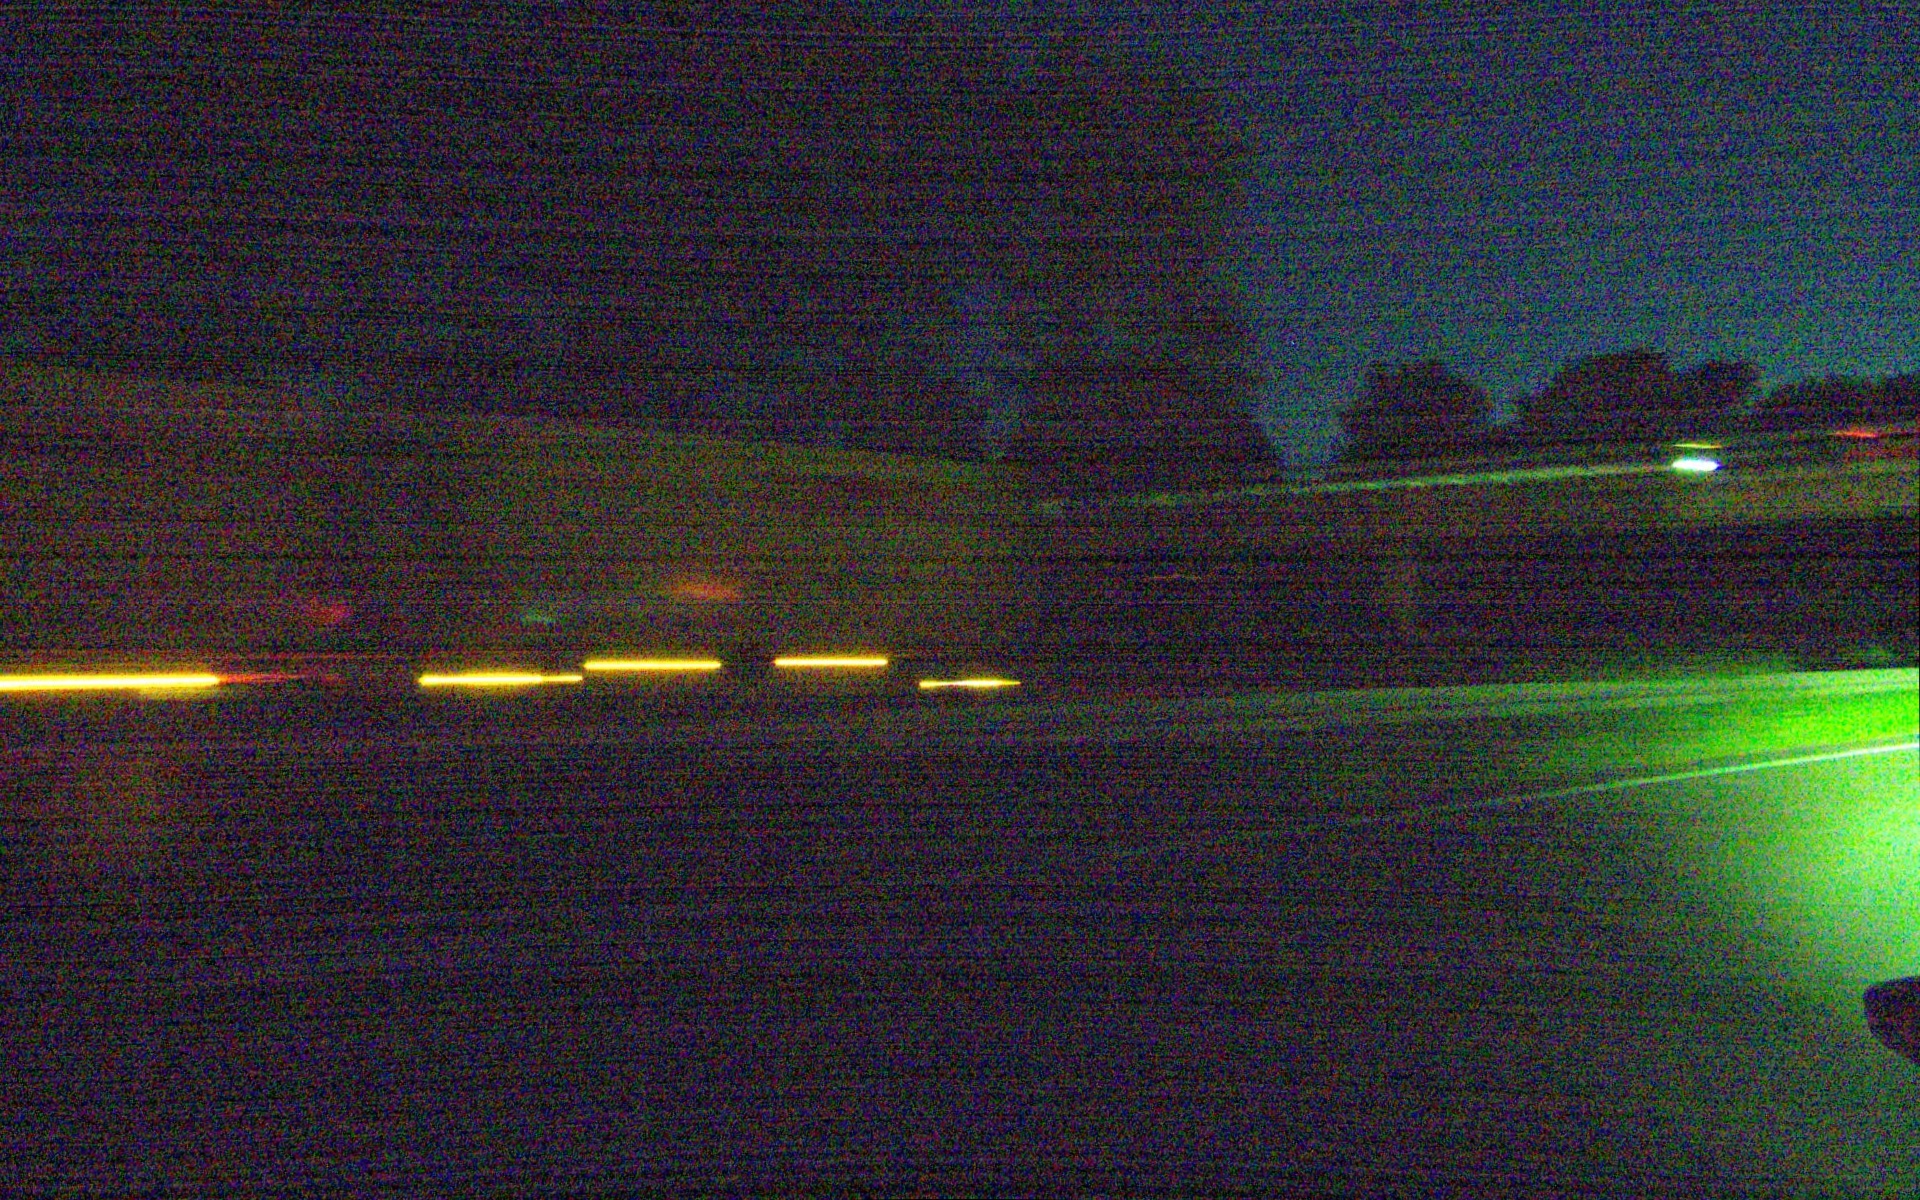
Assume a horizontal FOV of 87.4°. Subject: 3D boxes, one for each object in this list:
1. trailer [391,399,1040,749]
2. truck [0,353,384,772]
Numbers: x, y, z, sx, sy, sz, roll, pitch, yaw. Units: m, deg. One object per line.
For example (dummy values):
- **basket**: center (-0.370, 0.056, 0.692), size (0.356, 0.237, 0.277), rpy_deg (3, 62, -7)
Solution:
- **trailer**: center (-3.264, -0.208, 14.904), size (8.939, 4.009, 2.705), rpy_deg (1, -1, -30)
- **truck**: center (-11.825, -0.380, 9.943), size (10.526, 4.098, 2.668), rpy_deg (1, -1, -30)
